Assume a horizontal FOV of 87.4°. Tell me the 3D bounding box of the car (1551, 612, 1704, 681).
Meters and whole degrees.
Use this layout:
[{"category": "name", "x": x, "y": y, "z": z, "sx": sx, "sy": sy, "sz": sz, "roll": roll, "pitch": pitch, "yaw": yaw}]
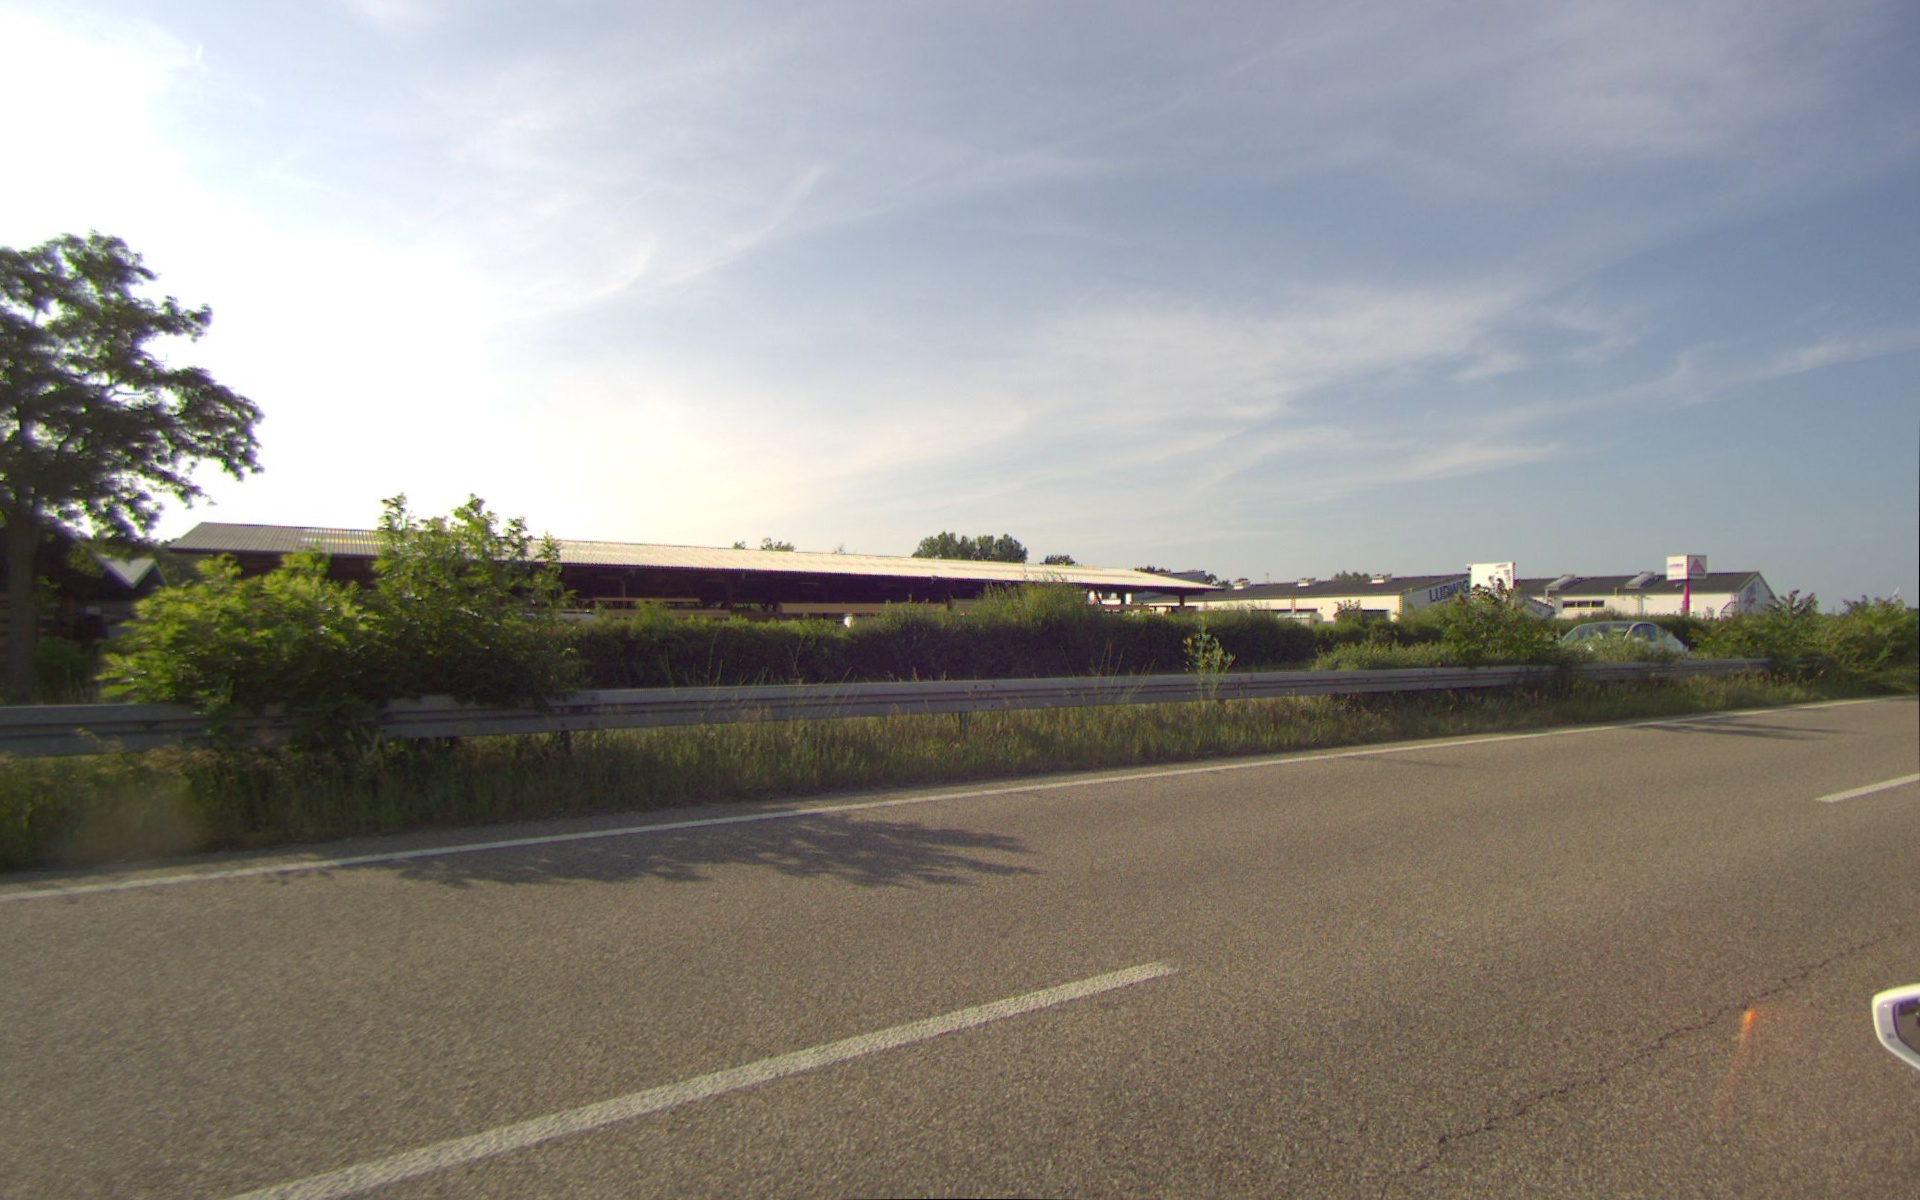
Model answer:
[{"category": "car", "x": 17.425, "y": 1.203, "z": 26.185, "sx": 3.958, "sy": 1.634, "sz": 1.917, "roll": 2, "pitch": -1, "yaw": -33}]
